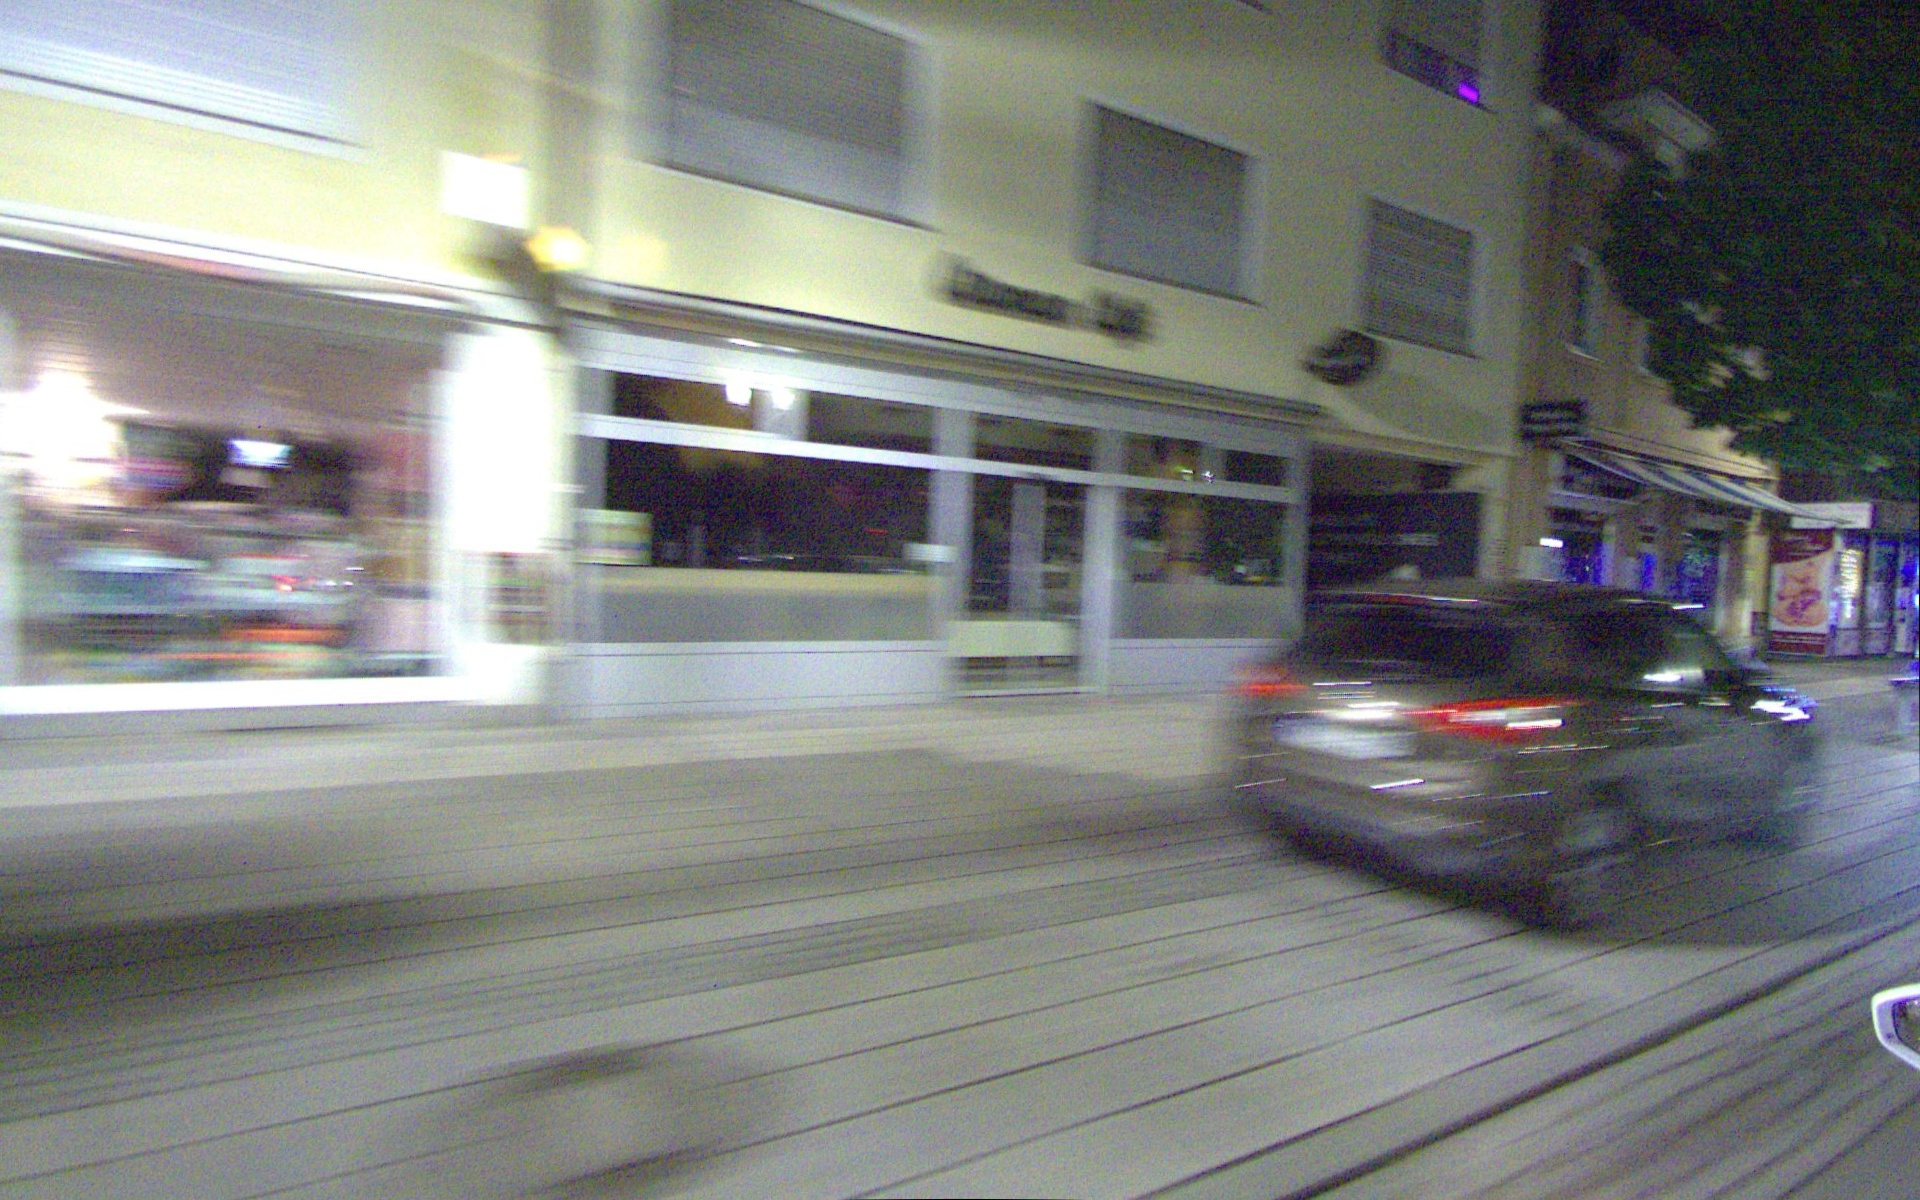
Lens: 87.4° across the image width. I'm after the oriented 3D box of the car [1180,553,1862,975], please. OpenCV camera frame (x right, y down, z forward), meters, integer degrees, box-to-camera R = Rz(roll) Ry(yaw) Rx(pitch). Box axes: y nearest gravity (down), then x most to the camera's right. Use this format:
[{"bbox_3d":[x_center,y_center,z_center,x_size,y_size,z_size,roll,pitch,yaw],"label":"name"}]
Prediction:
[{"bbox_3d":[3.343,0.626,5.683,4.188,1.564,1.662,1,3,-35],"label":"car"}]
